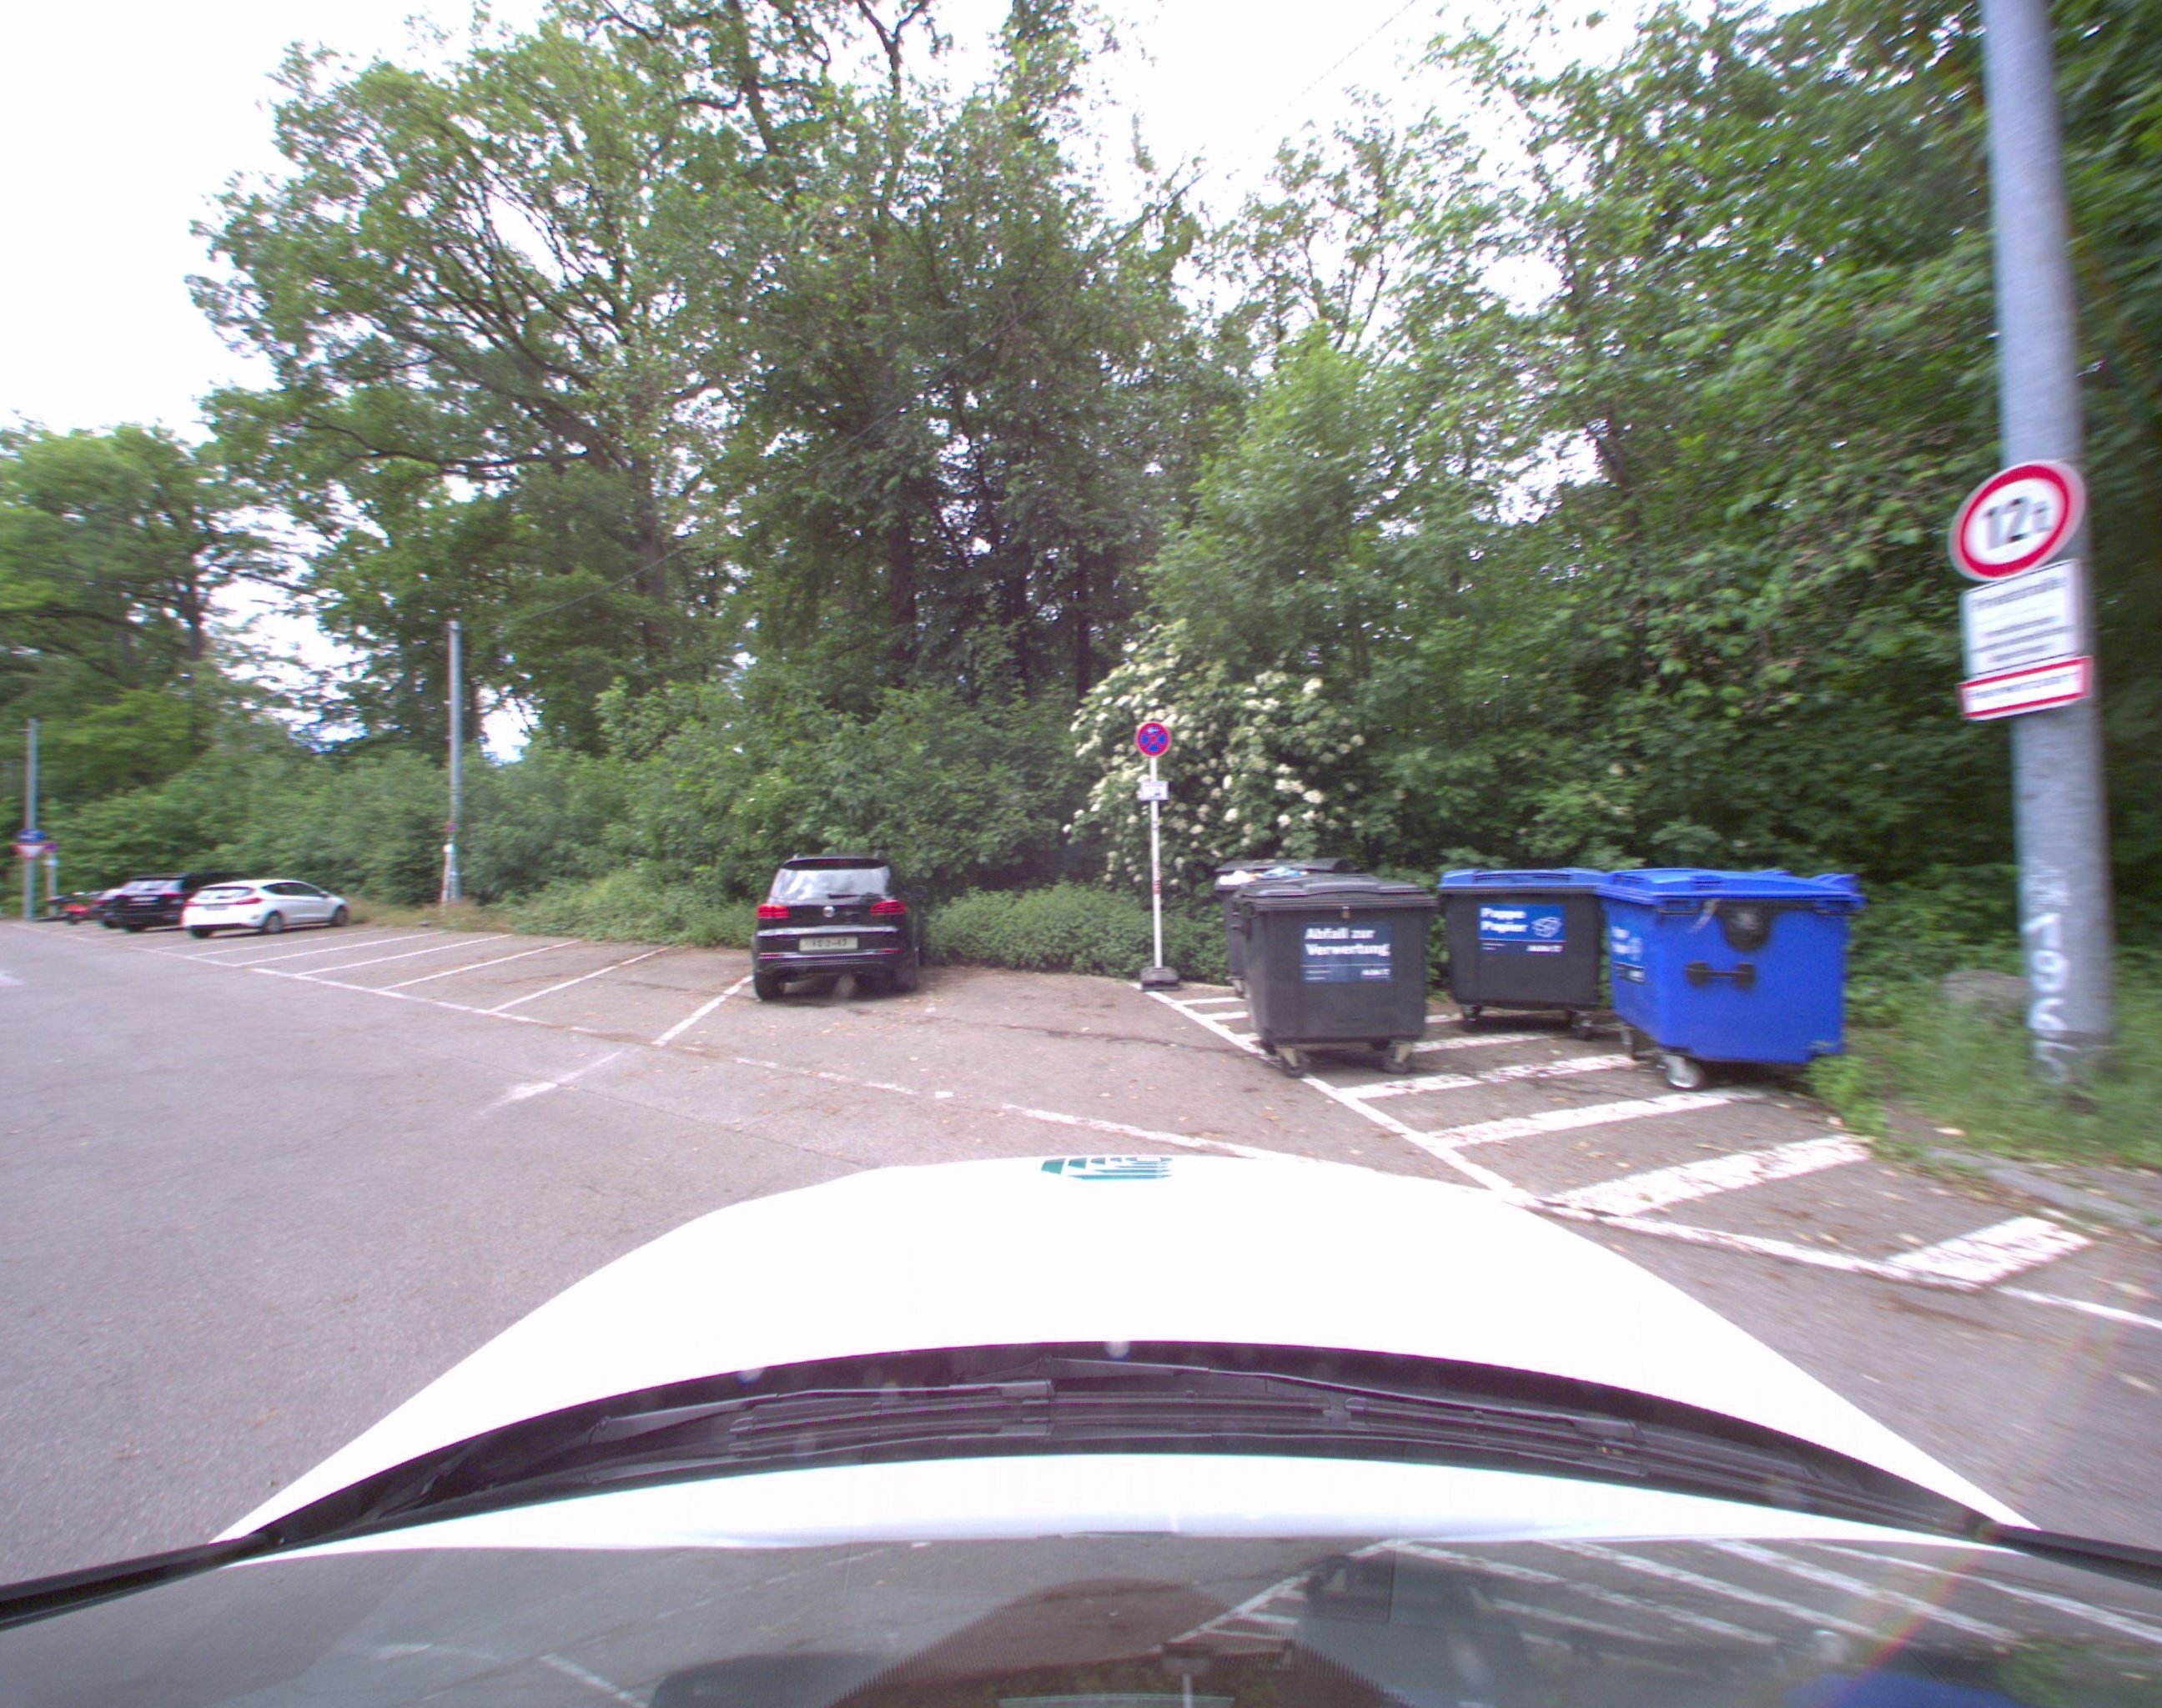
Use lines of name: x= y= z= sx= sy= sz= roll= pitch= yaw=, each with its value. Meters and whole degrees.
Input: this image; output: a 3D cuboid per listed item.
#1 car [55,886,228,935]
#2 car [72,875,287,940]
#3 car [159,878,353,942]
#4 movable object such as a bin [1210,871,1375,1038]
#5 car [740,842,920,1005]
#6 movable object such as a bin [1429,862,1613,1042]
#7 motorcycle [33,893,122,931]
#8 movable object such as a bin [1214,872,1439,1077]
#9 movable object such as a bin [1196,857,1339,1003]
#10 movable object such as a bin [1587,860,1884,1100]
car: x=-31.715 y=1.851 z=27.684 sx=1.735 sy=1.376 sz=3.984 roll=-1 pitch=0 yaw=-11
car: x=-27.883 y=1.572 z=25.486 sx=2.106 sy=1.767 sz=4.690 roll=-1 pitch=-1 yaw=-11
car: x=-22.711 y=1.476 z=22.679 sx=1.865 sy=1.510 sz=3.984 roll=-1 pitch=-1 yaw=-11
movable object such as a bin: x=1.785 y=0.821 z=7.100 sx=1.176 sy=1.315 sz=1.128 roll=-1 pitch=-1 yaw=3
car: x=-3.077 y=0.747 z=10.751 sx=1.779 sy=1.685 sz=4.056 roll=-1 pitch=-1 yaw=-11
movable object such as a bin: x=3.657 y=0.744 z=6.827 sx=1.224 sy=1.320 sz=1.134 roll=-2 pitch=-1 yaw=28
motorcycle: x=-35.951 y=2.056 z=29.219 sx=0.726 sy=1.208 sz=2.028 roll=-1 pitch=0 yaw=-2
movable object such as a bin: x=1.695 y=0.800 z=5.903 sx=1.303 sy=1.307 sz=1.173 roll=-1 pitch=-1 yaw=3
movable object such as a bin: x=2.010 y=0.756 z=8.741 sx=1.116 sy=1.425 sz=1.134 roll=-2 pitch=-1 yaw=36
movable object such as a bin: x=4.105 y=0.711 z=5.290 sx=1.133 sy=1.325 sz=1.263 roll=-1 pitch=-1 yaw=20
